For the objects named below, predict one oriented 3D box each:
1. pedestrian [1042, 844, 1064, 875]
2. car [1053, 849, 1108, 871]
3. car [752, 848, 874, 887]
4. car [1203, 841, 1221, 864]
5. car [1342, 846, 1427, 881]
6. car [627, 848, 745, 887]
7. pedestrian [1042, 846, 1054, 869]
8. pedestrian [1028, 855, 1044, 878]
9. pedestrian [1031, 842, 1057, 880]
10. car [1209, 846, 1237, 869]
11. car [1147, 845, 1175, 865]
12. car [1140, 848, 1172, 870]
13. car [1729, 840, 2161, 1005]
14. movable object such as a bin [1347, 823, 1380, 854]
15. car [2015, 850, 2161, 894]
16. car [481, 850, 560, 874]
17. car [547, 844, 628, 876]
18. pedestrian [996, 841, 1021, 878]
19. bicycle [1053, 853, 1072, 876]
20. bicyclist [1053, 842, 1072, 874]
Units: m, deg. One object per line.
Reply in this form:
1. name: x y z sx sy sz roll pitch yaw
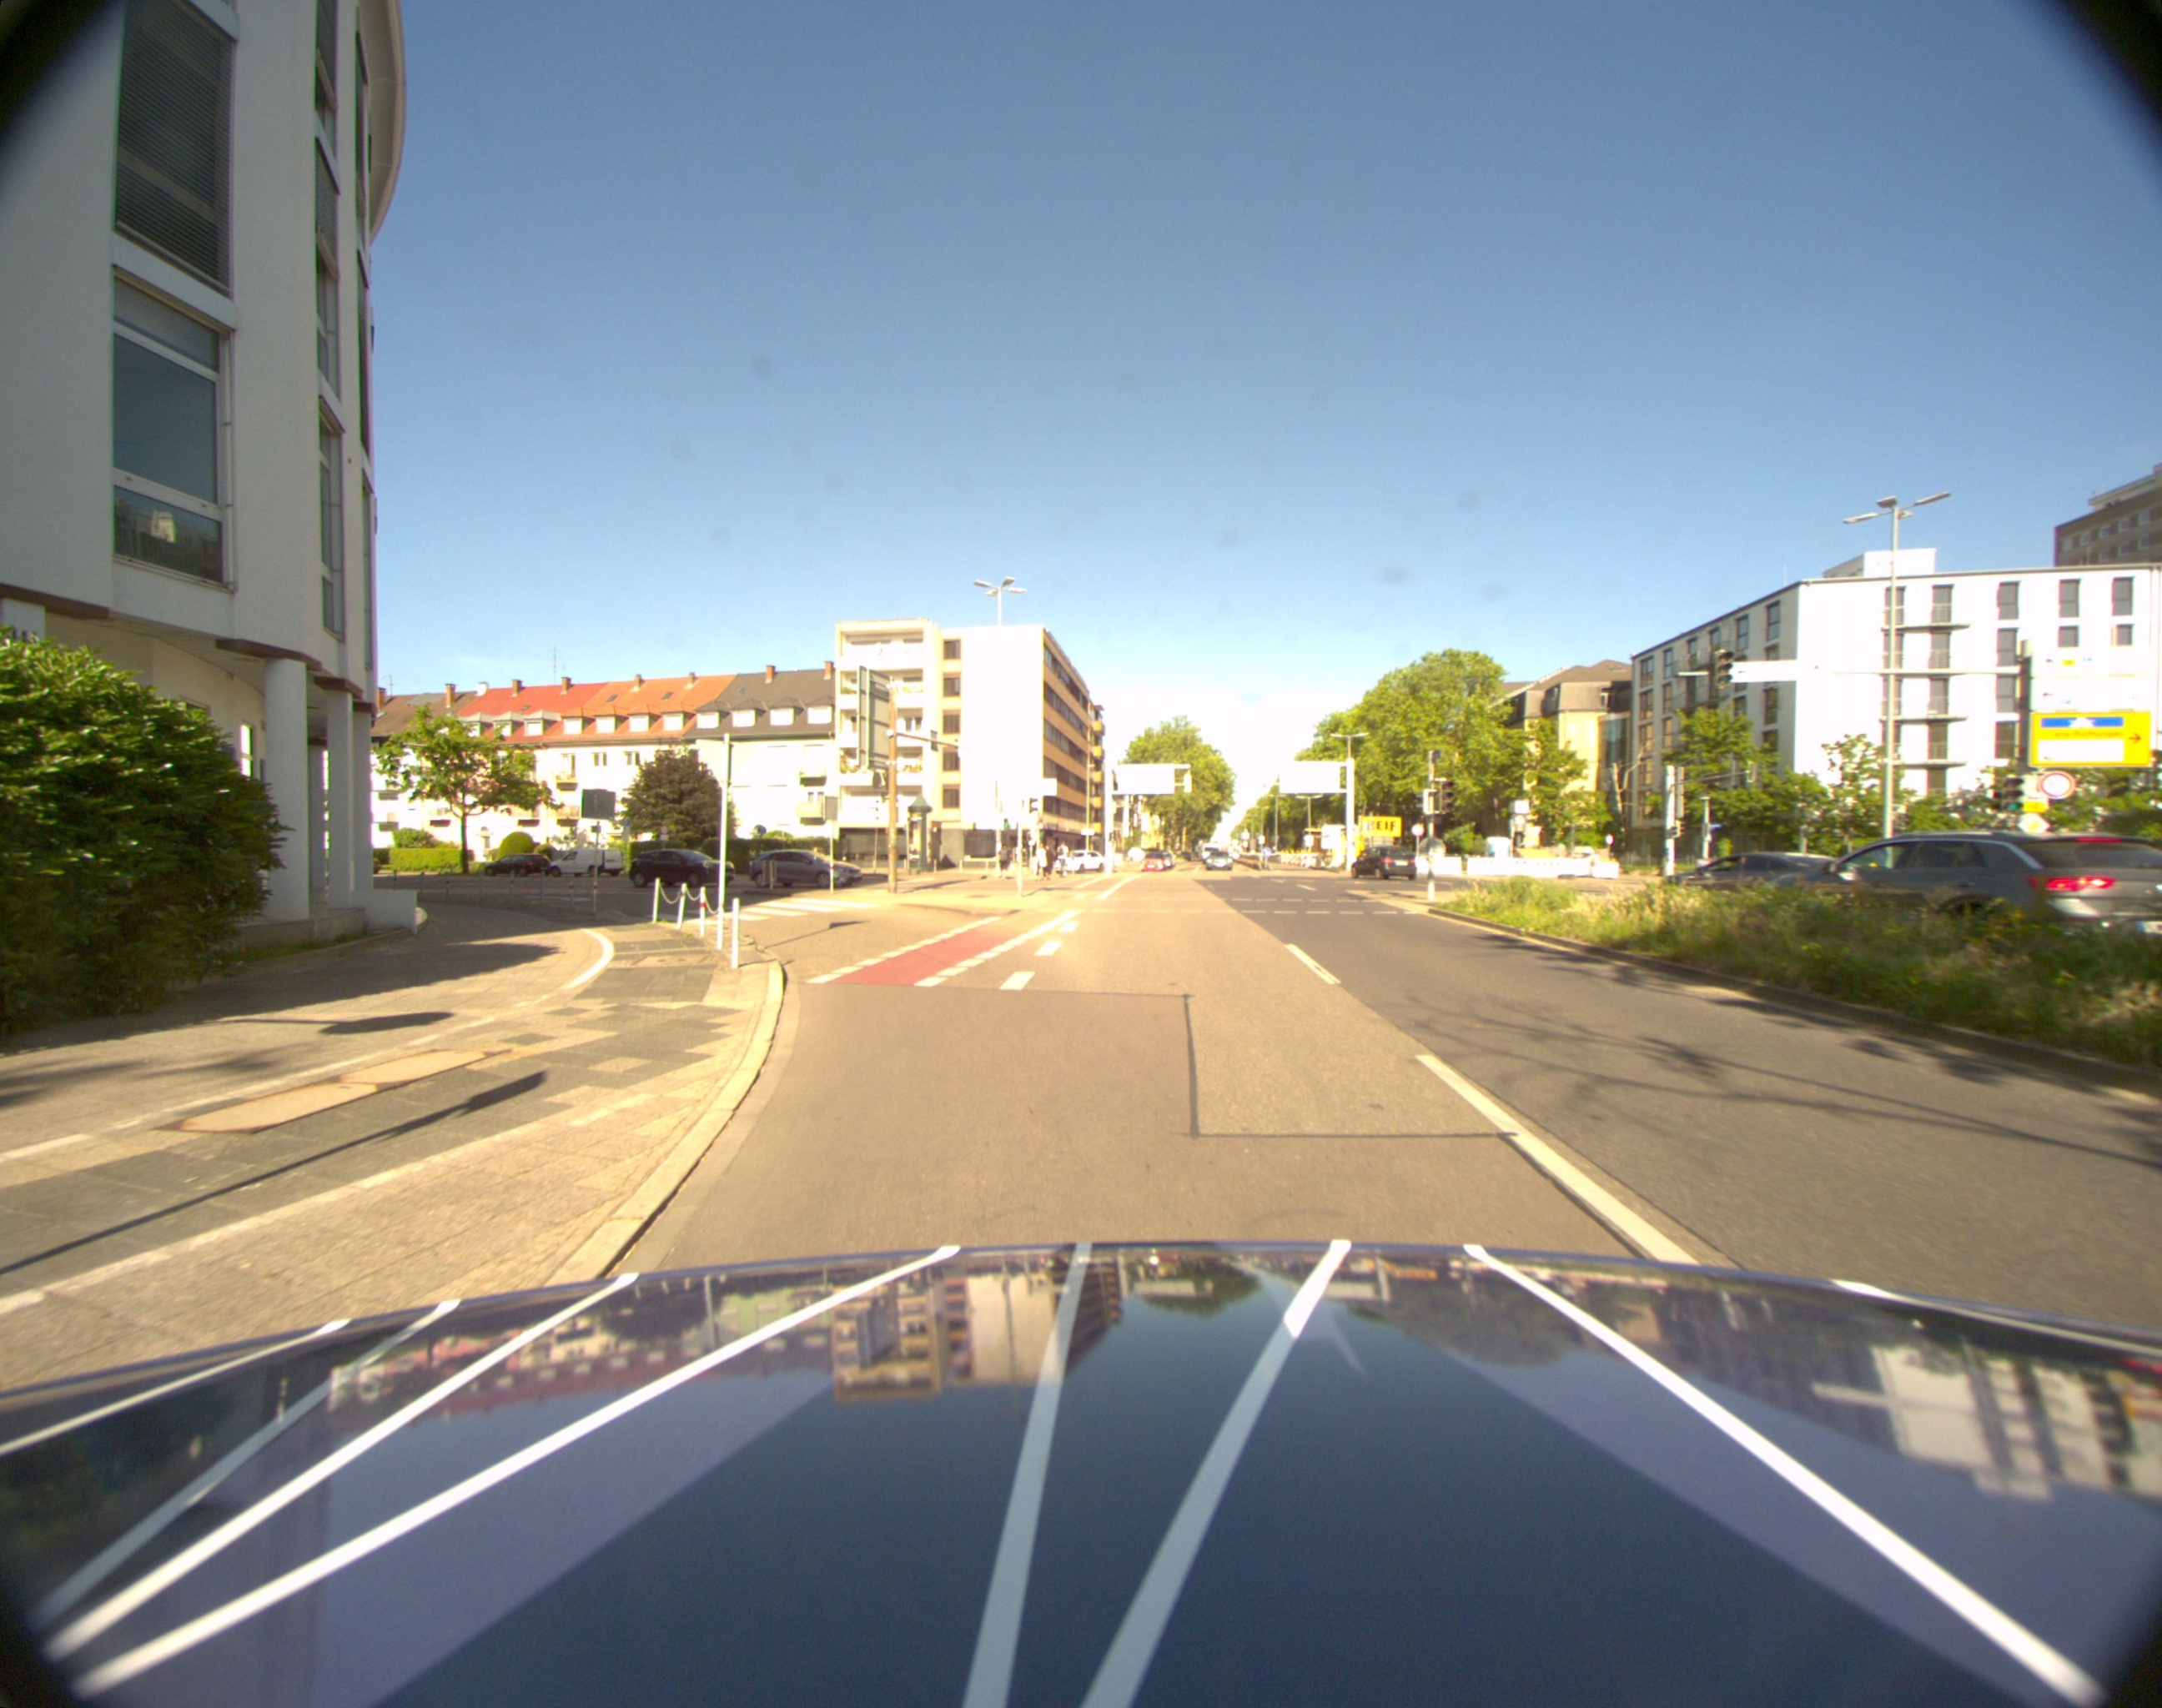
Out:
1. pedestrian: -1.484 0.287 40.191 0.896 1.614 0.721 0 4 17
2. car: 0.019 0.441 53.502 1.880 1.510 4.559 -1 -1 29
3. car: -10.386 0.505 29.540 4.050 1.400 1.886 -1 1 13
4. car: 14.927 -0.203 86.750 1.882 2.498 4.453 0 1 9
5. car: 14.265 0.393 35.993 1.863 1.576 4.274 0 1 -9
6. car: -15.961 0.551 30.742 4.067 1.483 1.698 -1 2 13
7. pedestrian: -2.374 0.258 55.168 0.719 1.670 0.697 -1 4 8
8. pedestrian: -2.413 0.645 40.688 0.646 1.196 0.526 0 4 17
9. pedestrian: -1.655 0.301 33.855 0.788 1.599 0.927 -3 4 -27
10. car: 10.912 0.253 58.336 1.881 1.511 4.002 -1 3 14
11. car: 6.956 0.058 65.634 1.881 1.511 4.002 -1 3 14
12. car: 5.694 0.372 57.397 1.881 1.510 4.004 -1 1 14
13. car: 10.442 0.608 9.217 1.799 1.510 4.348 -1 1 6
14. movable object such as a bin: 24.373 -1.382 65.591 1.997 2.462 4.001 -1 4 10
15. car: 41.755 0.699 30.729 4.702 1.609 1.920 -1 4 16
16. car: -36.271 0.511 49.189 4.043 1.422 1.806 -1 4 13
17. car: -31.243 0.386 48.133 4.159 1.848 1.806 -1 4 13
18. pedestrian: -3.339 0.236 35.008 0.798 1.635 0.982 -3 4 -27
19. bicycle: -0.898 0.509 37.040 0.866 0.985 1.901 -1 3 0
20. bicyclist: -0.905 0.175 37.109 0.870 1.525 0.852 -1 2 0
